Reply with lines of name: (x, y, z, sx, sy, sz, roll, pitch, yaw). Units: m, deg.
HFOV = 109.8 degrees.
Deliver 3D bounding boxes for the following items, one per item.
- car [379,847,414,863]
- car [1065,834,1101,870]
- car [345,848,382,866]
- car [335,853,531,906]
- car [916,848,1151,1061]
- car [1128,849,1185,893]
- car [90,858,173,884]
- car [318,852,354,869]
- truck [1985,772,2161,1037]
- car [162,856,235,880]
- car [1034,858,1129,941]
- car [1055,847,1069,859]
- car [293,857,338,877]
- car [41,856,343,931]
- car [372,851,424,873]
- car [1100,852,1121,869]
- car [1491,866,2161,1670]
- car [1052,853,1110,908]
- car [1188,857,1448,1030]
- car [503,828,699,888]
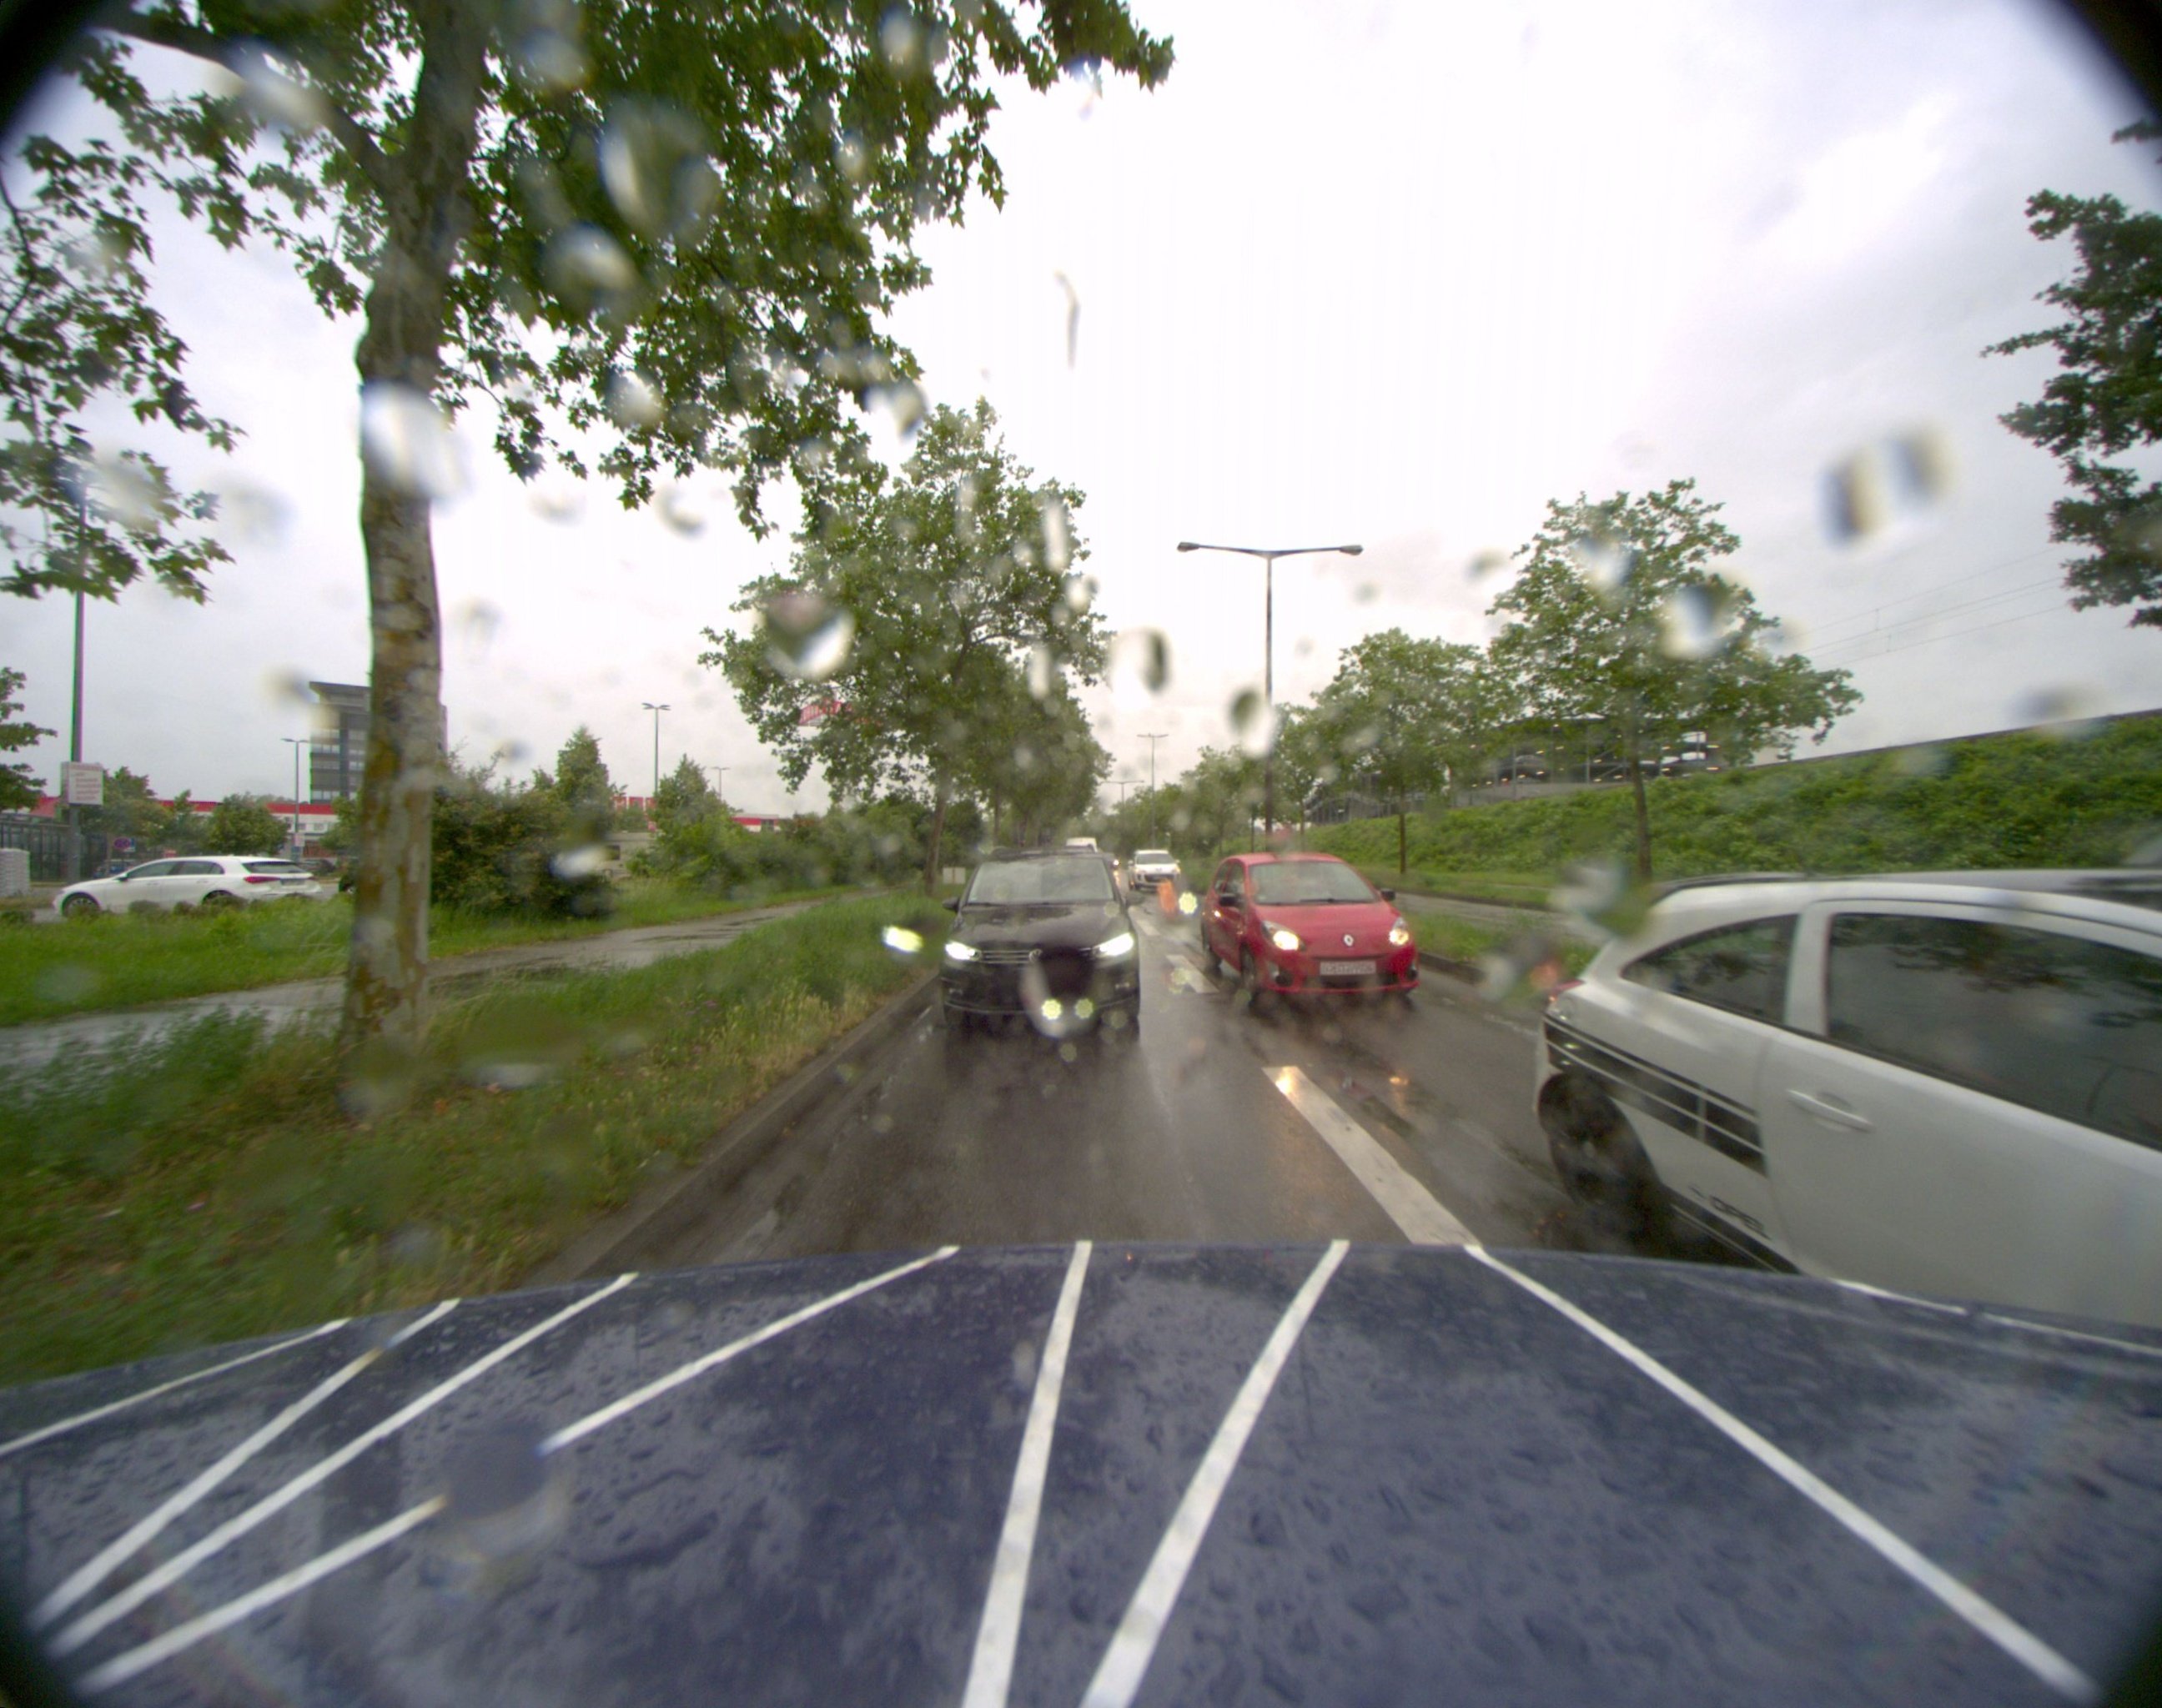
car: (-78.824, 0.072, 87.537, 1.933, 1.866, 4.263, 0, 1, -28)
car: (0.177, -0.145, 46.037, 1.998, 2.002, 5.131, -2, 1, 1)
car: (-68.805, 0.254, 72.929, 2.006, 1.667, 4.261, -1, 1, -36)
car: (-19.957, 0.749, 23.574, 4.272, 1.543, 1.929, 0, 1, -4)
car: (-0.417, 0.765, 8.255, 1.771, 1.596, 4.625, -2, 1, -1)
car: (2.964, 0.637, 30.615, 1.831, 1.602, 4.146, -2, 0, 0)
car: (-61.705, 1.080, 49.479, 1.933, 1.543, 4.262, 0, 1, -31)
car: (-78.573, 0.680, 80.209, 2.006, 1.667, 4.261, -1, 1, -35)
truck: (10.790, 0.464, 4.590, 2.480, 2.351, 6.867, 0, 1, 0)
car: (-59.509, 0.910, 51.341, 1.933, 1.543, 4.262, 0, 1, -31)
car: (0.007, 0.877, 16.371, 1.724, 1.456, 4.092, -2, 0, 0)
car: (-3.311, -0.186, 129.427, 1.726, 2.002, 3.996, -2, 1, -10)
car: (-67.366, 1.132, 66.969, 2.006, 1.667, 4.262, -1, 1, -34)
car: (-19.794, 0.830, 17.105, 4.272, 1.543, 1.929, 0, 1, -4)
car: (-50.783, 0.581, 56.611, 1.933, 1.543, 4.263, 0, 1, -29)
car: (2.790, 0.577, 73.008, 1.715, 1.494, 3.999, -2, 1, -2)
car: (2.791, 0.778, 1.528, 1.683, 1.369, 4.010, -2, 0, -1)
car: (-0.004, 0.854, 27.023, 1.831, 1.737, 4.146, -2, 0, 0)
car: (2.416, 0.809, 8.865, 1.724, 1.456, 4.092, -2, 0, 0)
car: (-19.690, 0.137, 31.520, 6.425, 2.349, 2.390, 0, 1, -8)
